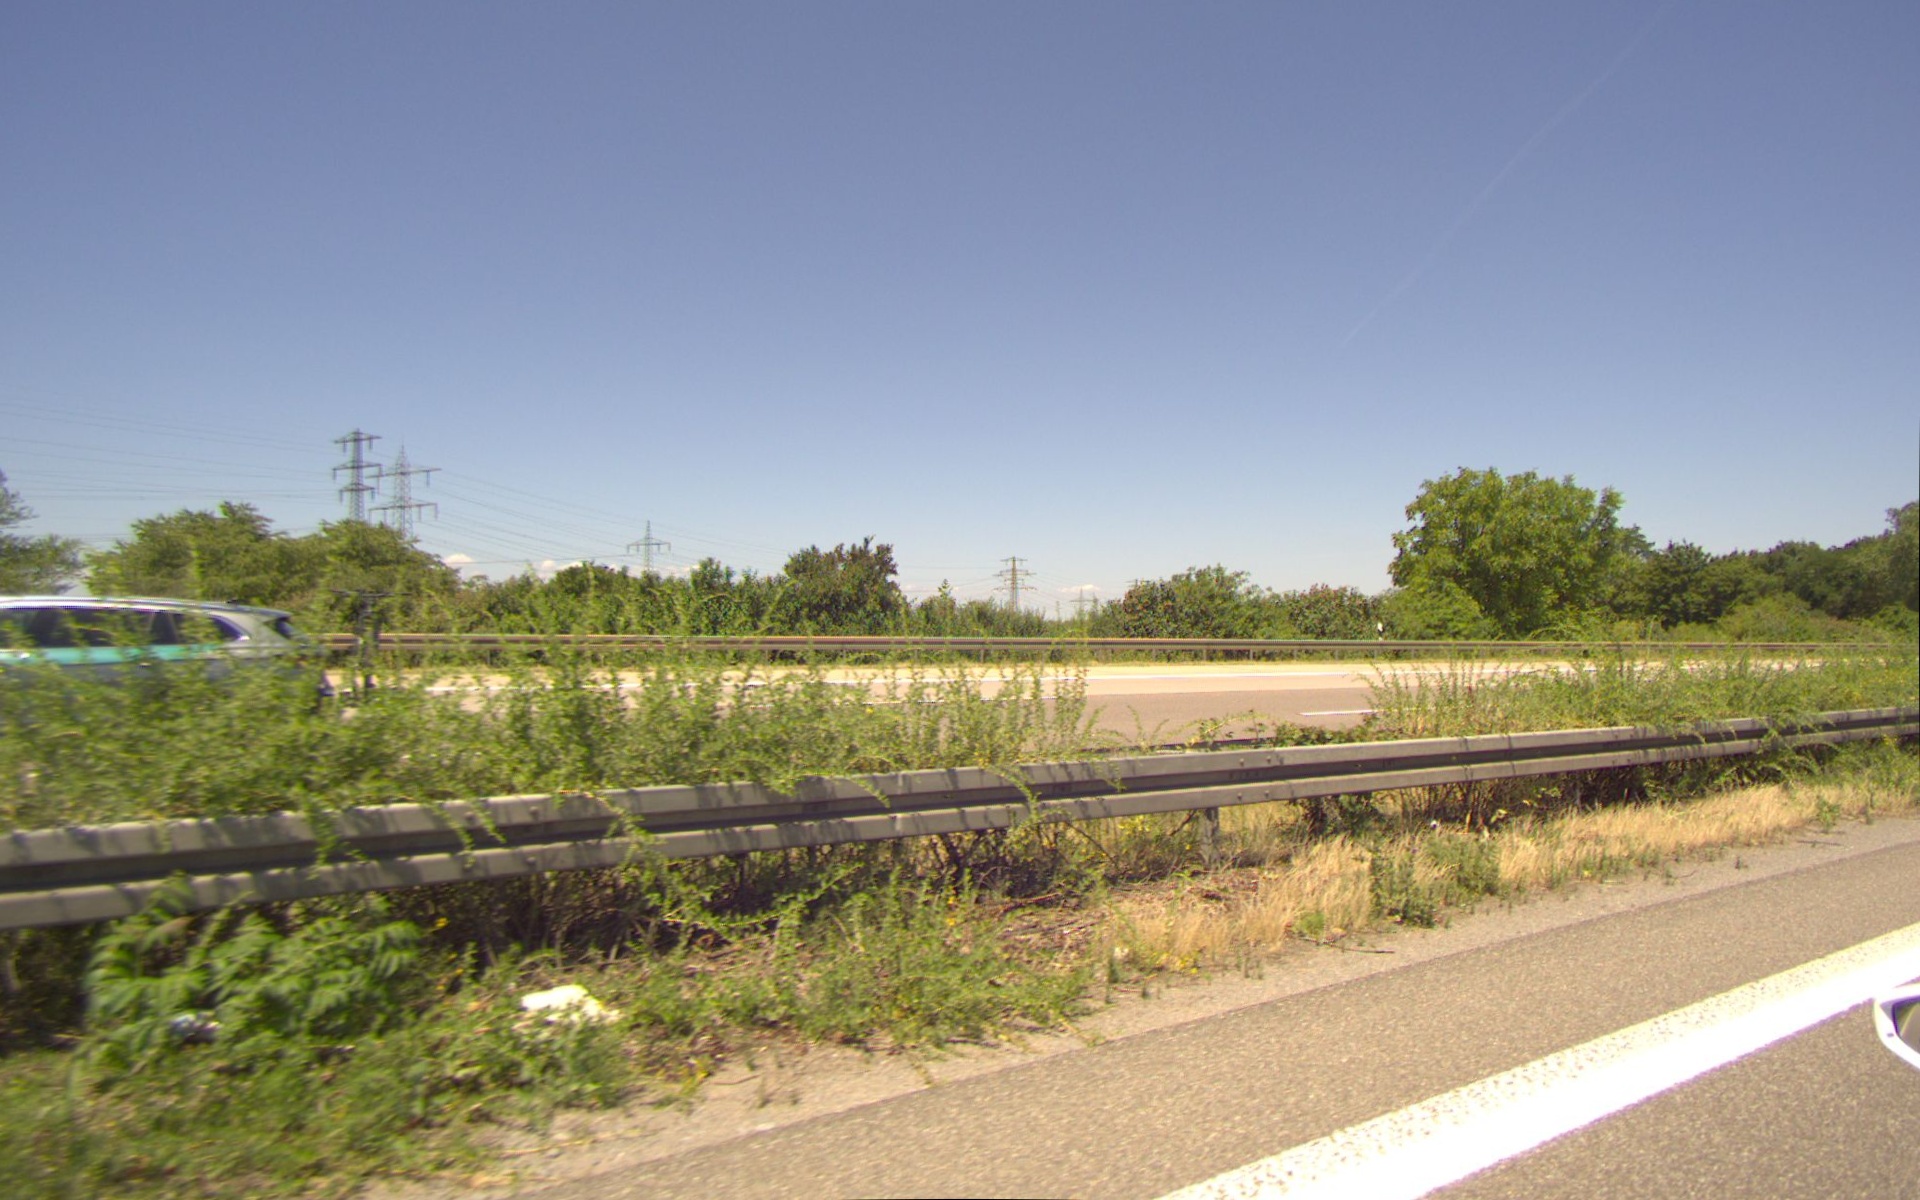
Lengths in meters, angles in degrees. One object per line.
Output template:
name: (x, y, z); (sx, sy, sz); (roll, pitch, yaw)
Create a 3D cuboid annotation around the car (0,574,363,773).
car: (-8.398, 0.643, 9.715); (4.452, 1.711, 1.983); (2, -1, -31)
